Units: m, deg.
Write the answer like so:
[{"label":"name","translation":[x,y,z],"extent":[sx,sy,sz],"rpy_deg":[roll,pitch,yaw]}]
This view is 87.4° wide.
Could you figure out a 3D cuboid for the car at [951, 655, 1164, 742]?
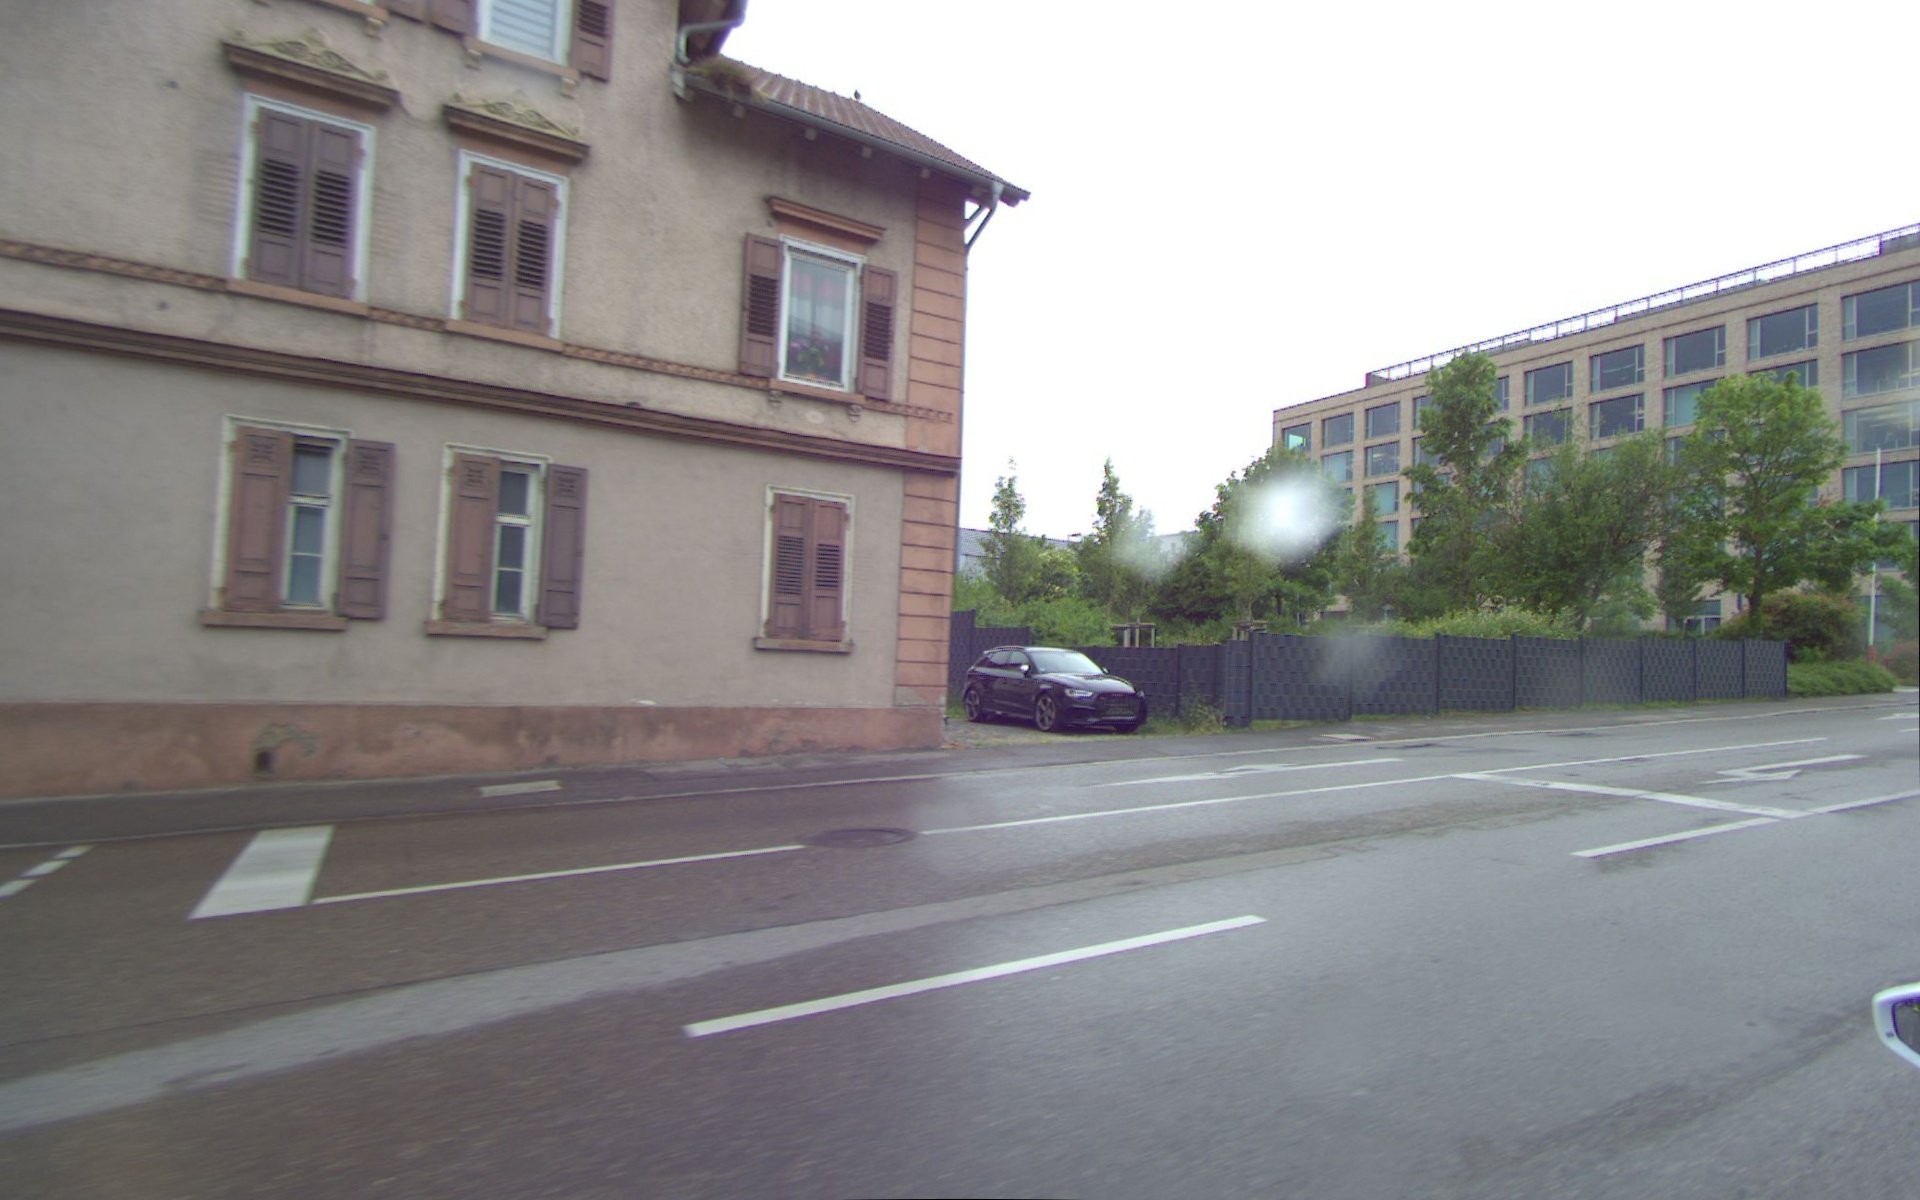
[{"label":"car","translation":[1.578,1.628,17.564],"extent":[1.590,1.178,3.963],"rpy_deg":[1,-1,-33]}]
